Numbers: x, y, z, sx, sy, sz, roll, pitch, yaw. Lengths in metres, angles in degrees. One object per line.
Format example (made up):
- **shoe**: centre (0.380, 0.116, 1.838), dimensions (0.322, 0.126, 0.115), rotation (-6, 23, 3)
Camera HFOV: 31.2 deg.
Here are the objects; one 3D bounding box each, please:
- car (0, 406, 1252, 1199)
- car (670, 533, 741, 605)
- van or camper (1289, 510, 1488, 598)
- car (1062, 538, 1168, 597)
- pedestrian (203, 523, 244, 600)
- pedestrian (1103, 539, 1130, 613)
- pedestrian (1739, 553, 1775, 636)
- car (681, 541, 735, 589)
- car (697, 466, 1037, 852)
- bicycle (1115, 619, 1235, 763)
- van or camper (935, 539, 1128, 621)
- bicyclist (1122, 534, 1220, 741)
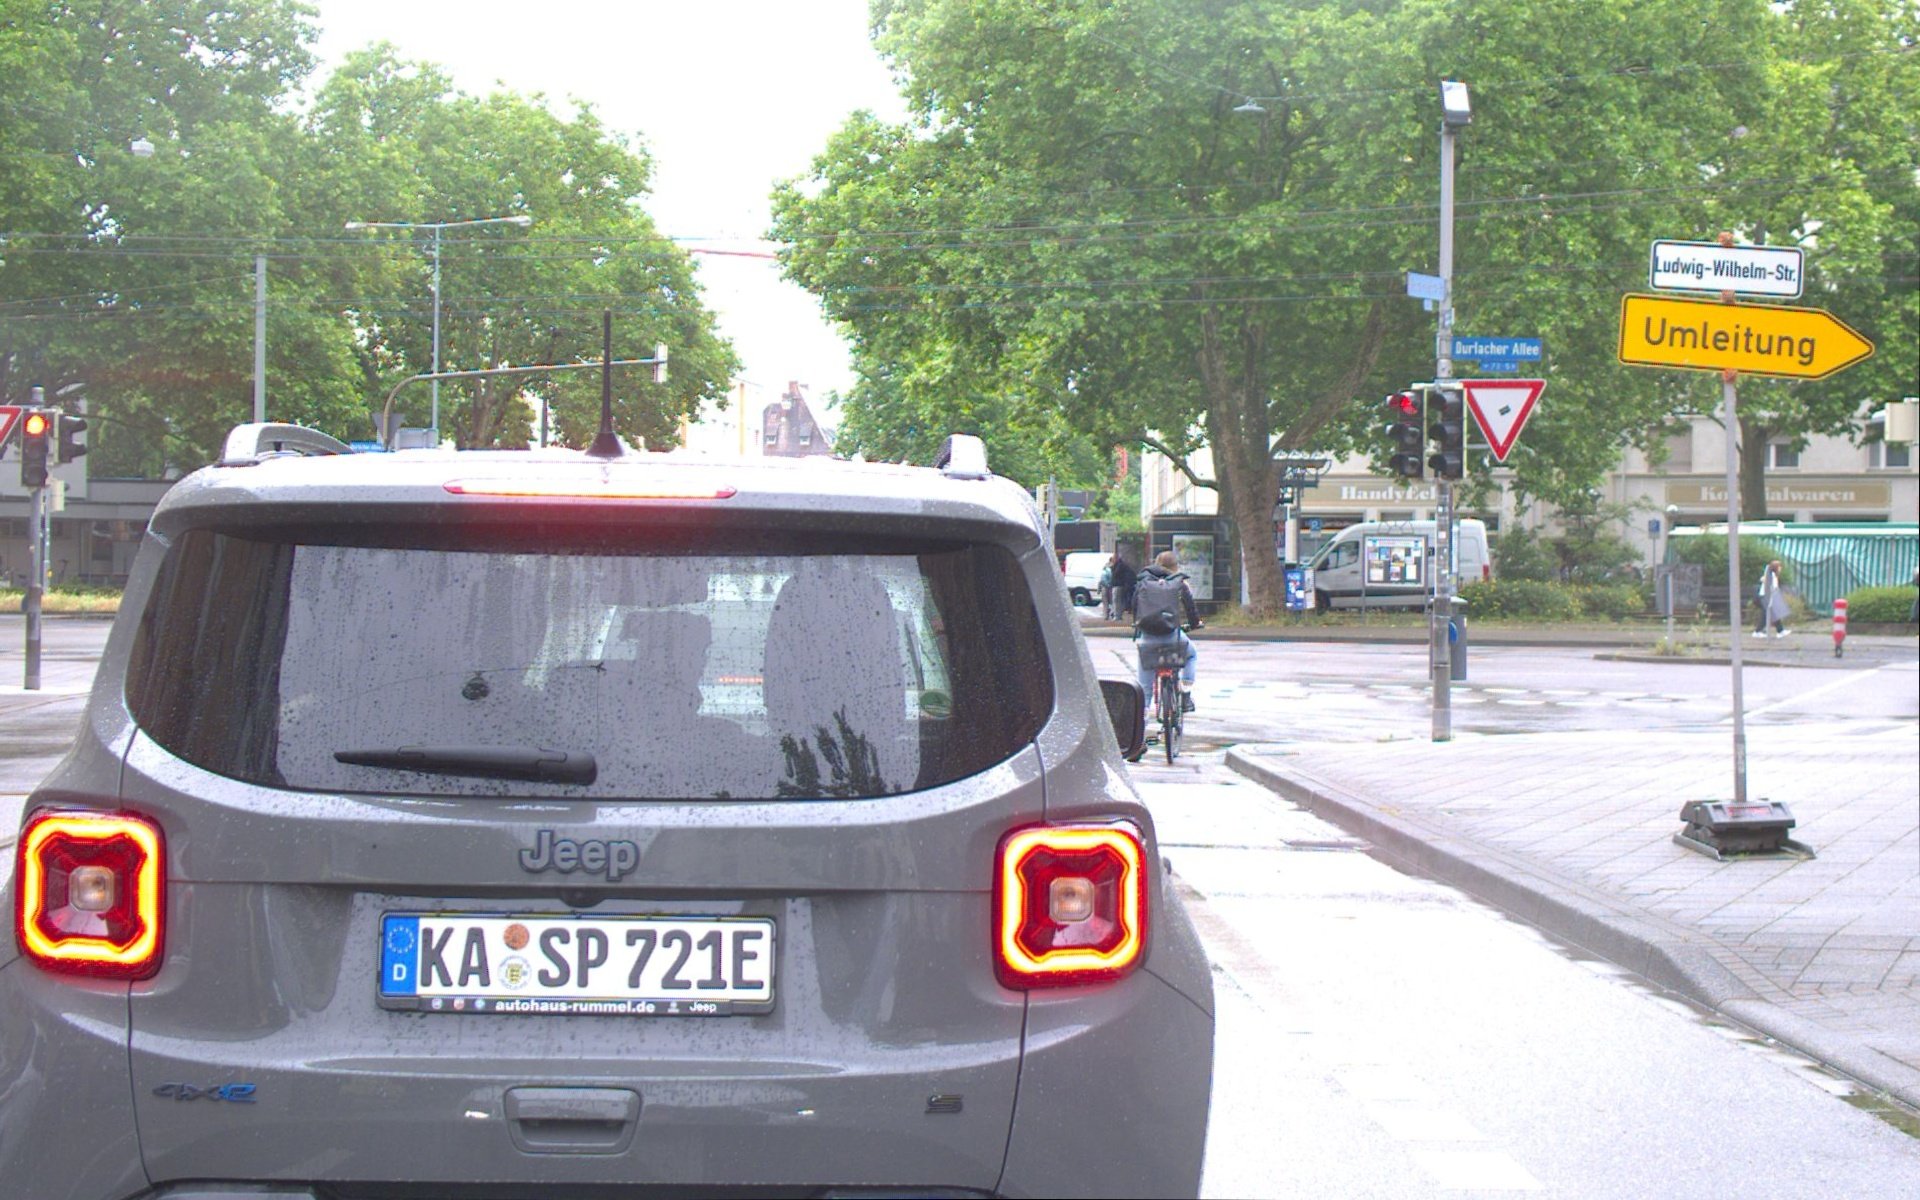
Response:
- **car**: centre (-0.576, 0.571, 6.264), dimensions (1.775, 1.681, 3.848), rotation (-1, 1, -2)
- **car**: centre (-6.303, -0.786, 84.988), dimensions (1.721, 1.733, 3.730), rotation (0, 1, -5)
- **van or camper**: centre (11.796, -1.289, 94.915), dimensions (5.260, 2.307, 2.090), rotation (1, 1, 3)
- **car**: centre (5.402, -1.137, 119.488), dimensions (3.438, 2.007, 1.547), rotation (0, 0, 13)
- **pedestrian**: centre (-17.343, -0.905, 80.992), dimensions (0.693, 1.820, 0.619), rotation (0, 1, 27)
- **pedestrian**: centre (4.221, -0.648, 92.938), dimensions (0.651, 2.007, 0.482), rotation (1, 1, 12)
- **pedestrian**: centre (15.575, -0.111, 67.183), dimensions (0.613, 1.598, 0.493), rotation (0, 1, 24)
- **car**: centre (-8.879, -1.233, 121.107), dimensions (1.813, 1.665, 3.921), rotation (0, 1, -5)
- **car**: centre (-0.525, 0.277, 19.974), dimensions (1.770, 2.007, 4.000), rotation (0, 1, -1)
- **bicycle**: centre (1.676, 0.691, 27.180), dimensions (0.691, 1.018, 2.658), rotation (-1, 1, -2)
- **van or camper**: centre (2.586, -0.756, 124.866), dimensions (6.535, 2.902, 2.491), rotation (1, 1, 24)
- **bicyclist**: centre (1.669, 0.282, 27.297), dimensions (0.687, 1.612, 0.884), rotation (-1, 1, -2)
